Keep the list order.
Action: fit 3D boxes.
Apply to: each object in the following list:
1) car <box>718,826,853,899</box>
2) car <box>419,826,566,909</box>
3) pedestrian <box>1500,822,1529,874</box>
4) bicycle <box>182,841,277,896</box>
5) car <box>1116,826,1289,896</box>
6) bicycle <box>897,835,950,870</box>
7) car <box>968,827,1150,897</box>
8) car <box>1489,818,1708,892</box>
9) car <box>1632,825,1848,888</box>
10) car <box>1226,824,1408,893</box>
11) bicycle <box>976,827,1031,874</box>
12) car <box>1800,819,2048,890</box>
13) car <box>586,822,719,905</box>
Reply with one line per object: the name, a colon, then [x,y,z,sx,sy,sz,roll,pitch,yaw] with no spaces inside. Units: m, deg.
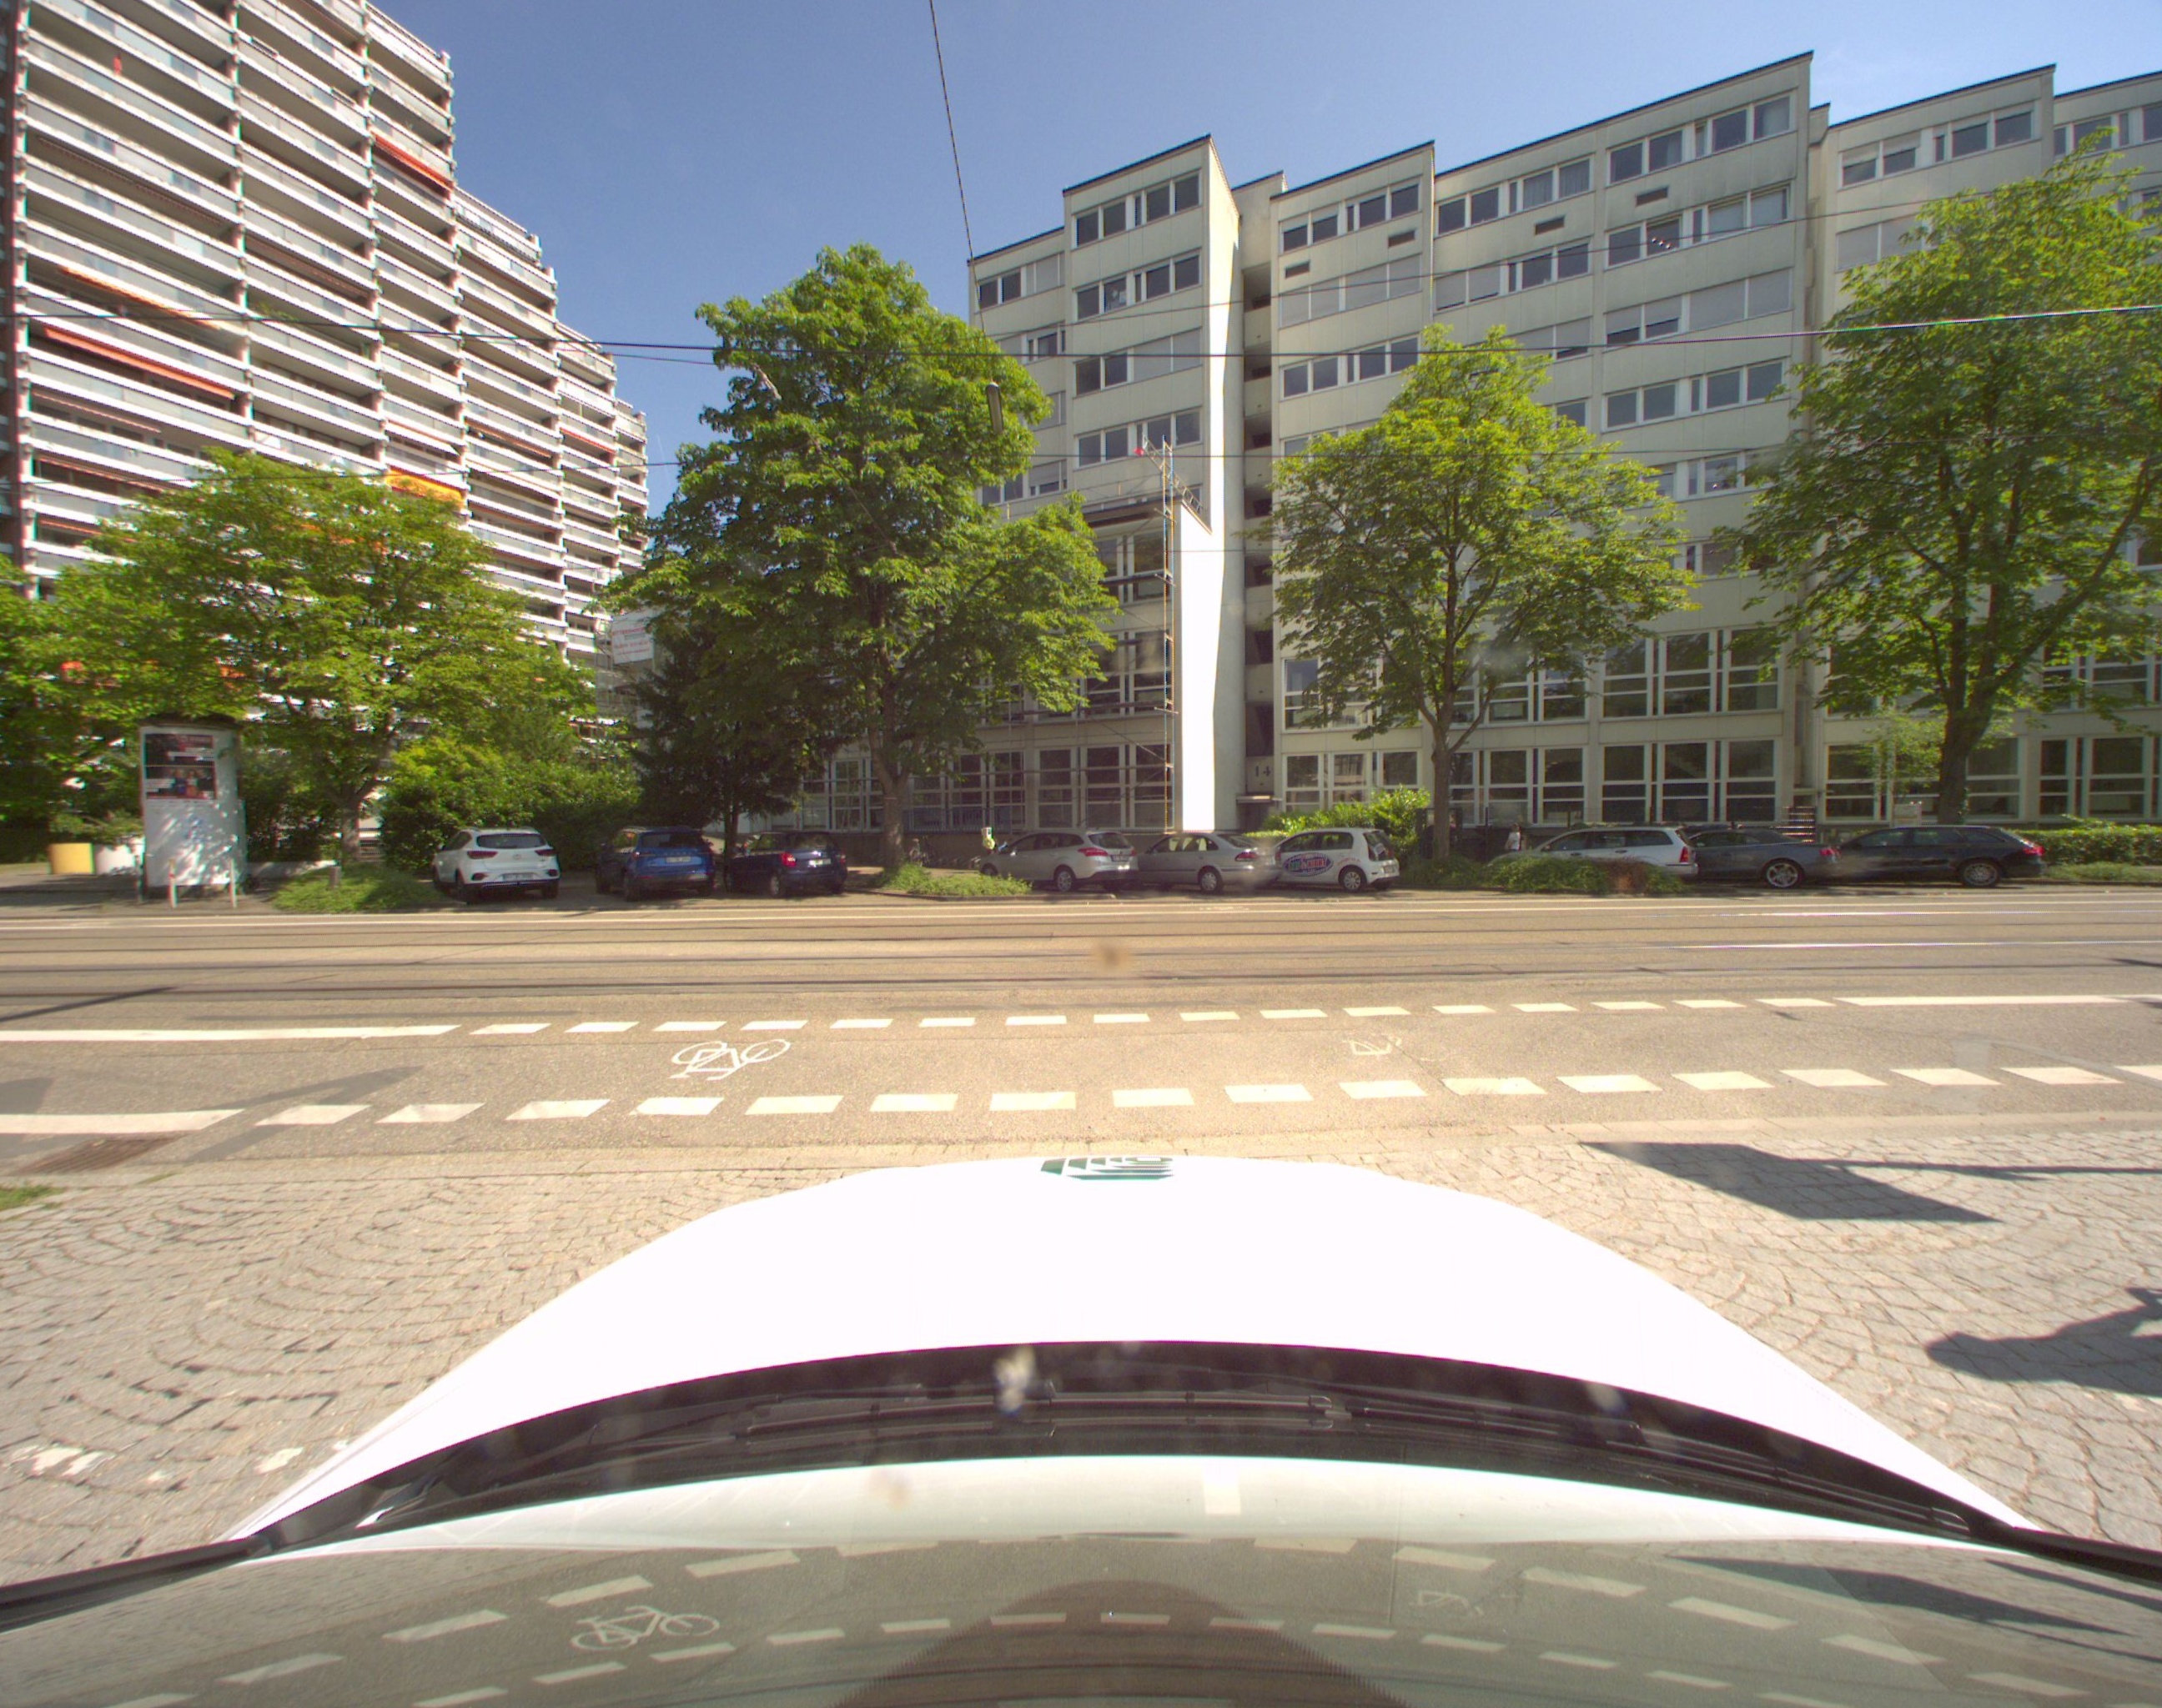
car: [-6.940,0.139,18.976,3.415,1.530,1.586,1,2,44]
car: [-13.454,0.219,18.550,3.895,1.606,1.831,1,5,42]
pedestrian: [12.471,-0.176,23.452,0.618,1.460,0.424,-1,1,-4]
bicycle: [-20.982,0.339,20.088,1.614,1.308,0.546,-1,1,-7]
car: [2.797,0.102,19.359,1.622,1.486,3.897,-2,2,-44]
bicycle: [-5.184,-0.057,26.941,0.735,1.085,2.214,0,2,18]
car: [-0.616,0.126,19.541,4.380,1.486,1.795,1,2,44]
car: [12.406,-0.020,19.712,4.289,1.604,1.568,1,1,41]
car: [15.702,0.014,19.530,3.896,1.357,1.568,1,2,44]
car: [5.604,0.076,19.647,1.623,1.486,3.896,-2,2,-45]
bicycle: [-2.458,-0.144,26.075,0.655,1.453,2.103,0,2,30]
car: [19.431,-0.040,19.024,3.896,1.486,1.568,1,2,44]
car: [-10.010,0.121,18.894,1.790,1.622,3.899,-3,4,-42]
